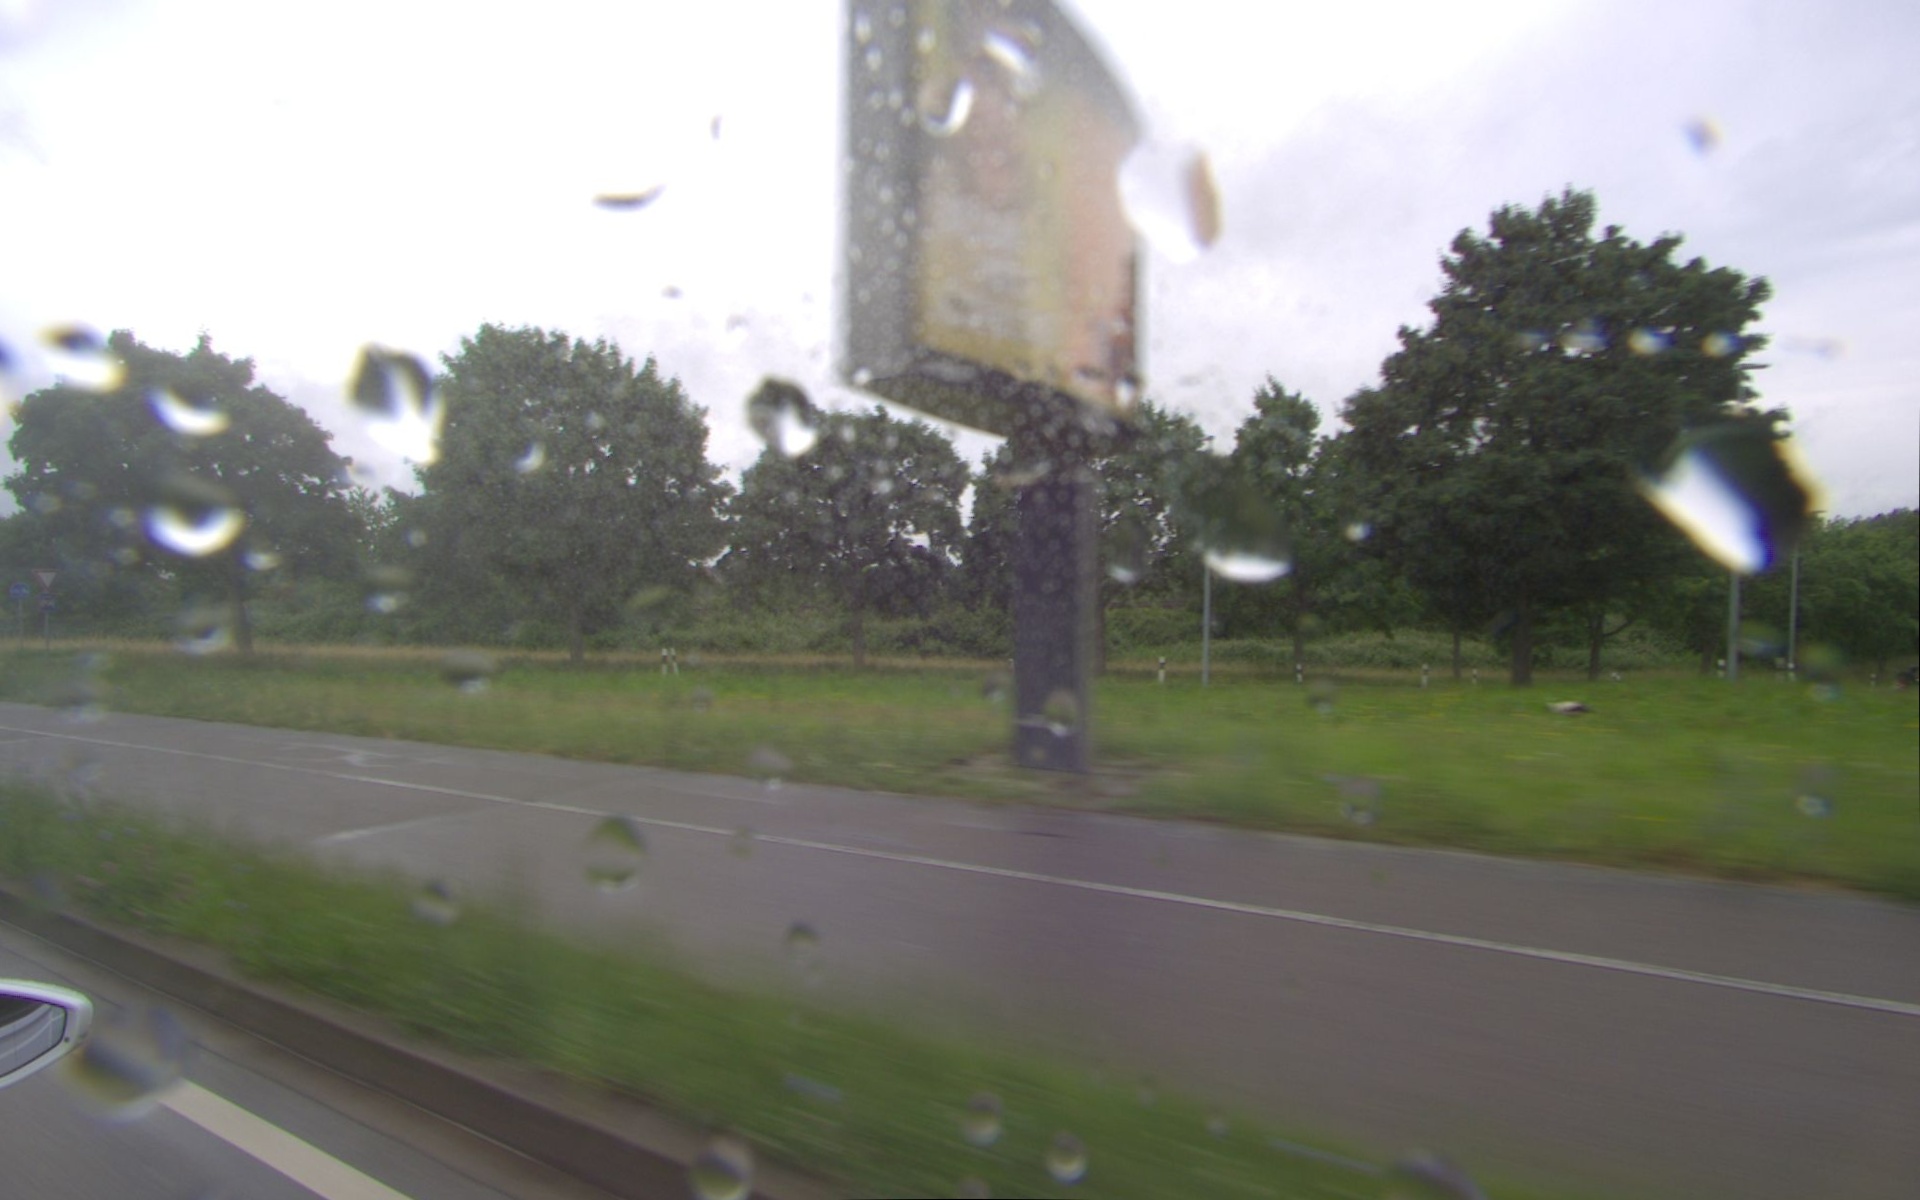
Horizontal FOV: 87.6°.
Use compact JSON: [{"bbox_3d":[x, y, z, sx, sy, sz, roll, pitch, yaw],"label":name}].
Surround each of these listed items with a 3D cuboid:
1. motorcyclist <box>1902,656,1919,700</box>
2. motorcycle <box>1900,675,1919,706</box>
[{"bbox_3d":[38.370,3.137,40.297,0.851,1.712,0.597,-1,1,-42],"label":"motorcyclist"},{"bbox_3d":[38.364,3.620,40.323,1.714,1.108,0.597,0,0,-42],"label":"motorcycle"}]
